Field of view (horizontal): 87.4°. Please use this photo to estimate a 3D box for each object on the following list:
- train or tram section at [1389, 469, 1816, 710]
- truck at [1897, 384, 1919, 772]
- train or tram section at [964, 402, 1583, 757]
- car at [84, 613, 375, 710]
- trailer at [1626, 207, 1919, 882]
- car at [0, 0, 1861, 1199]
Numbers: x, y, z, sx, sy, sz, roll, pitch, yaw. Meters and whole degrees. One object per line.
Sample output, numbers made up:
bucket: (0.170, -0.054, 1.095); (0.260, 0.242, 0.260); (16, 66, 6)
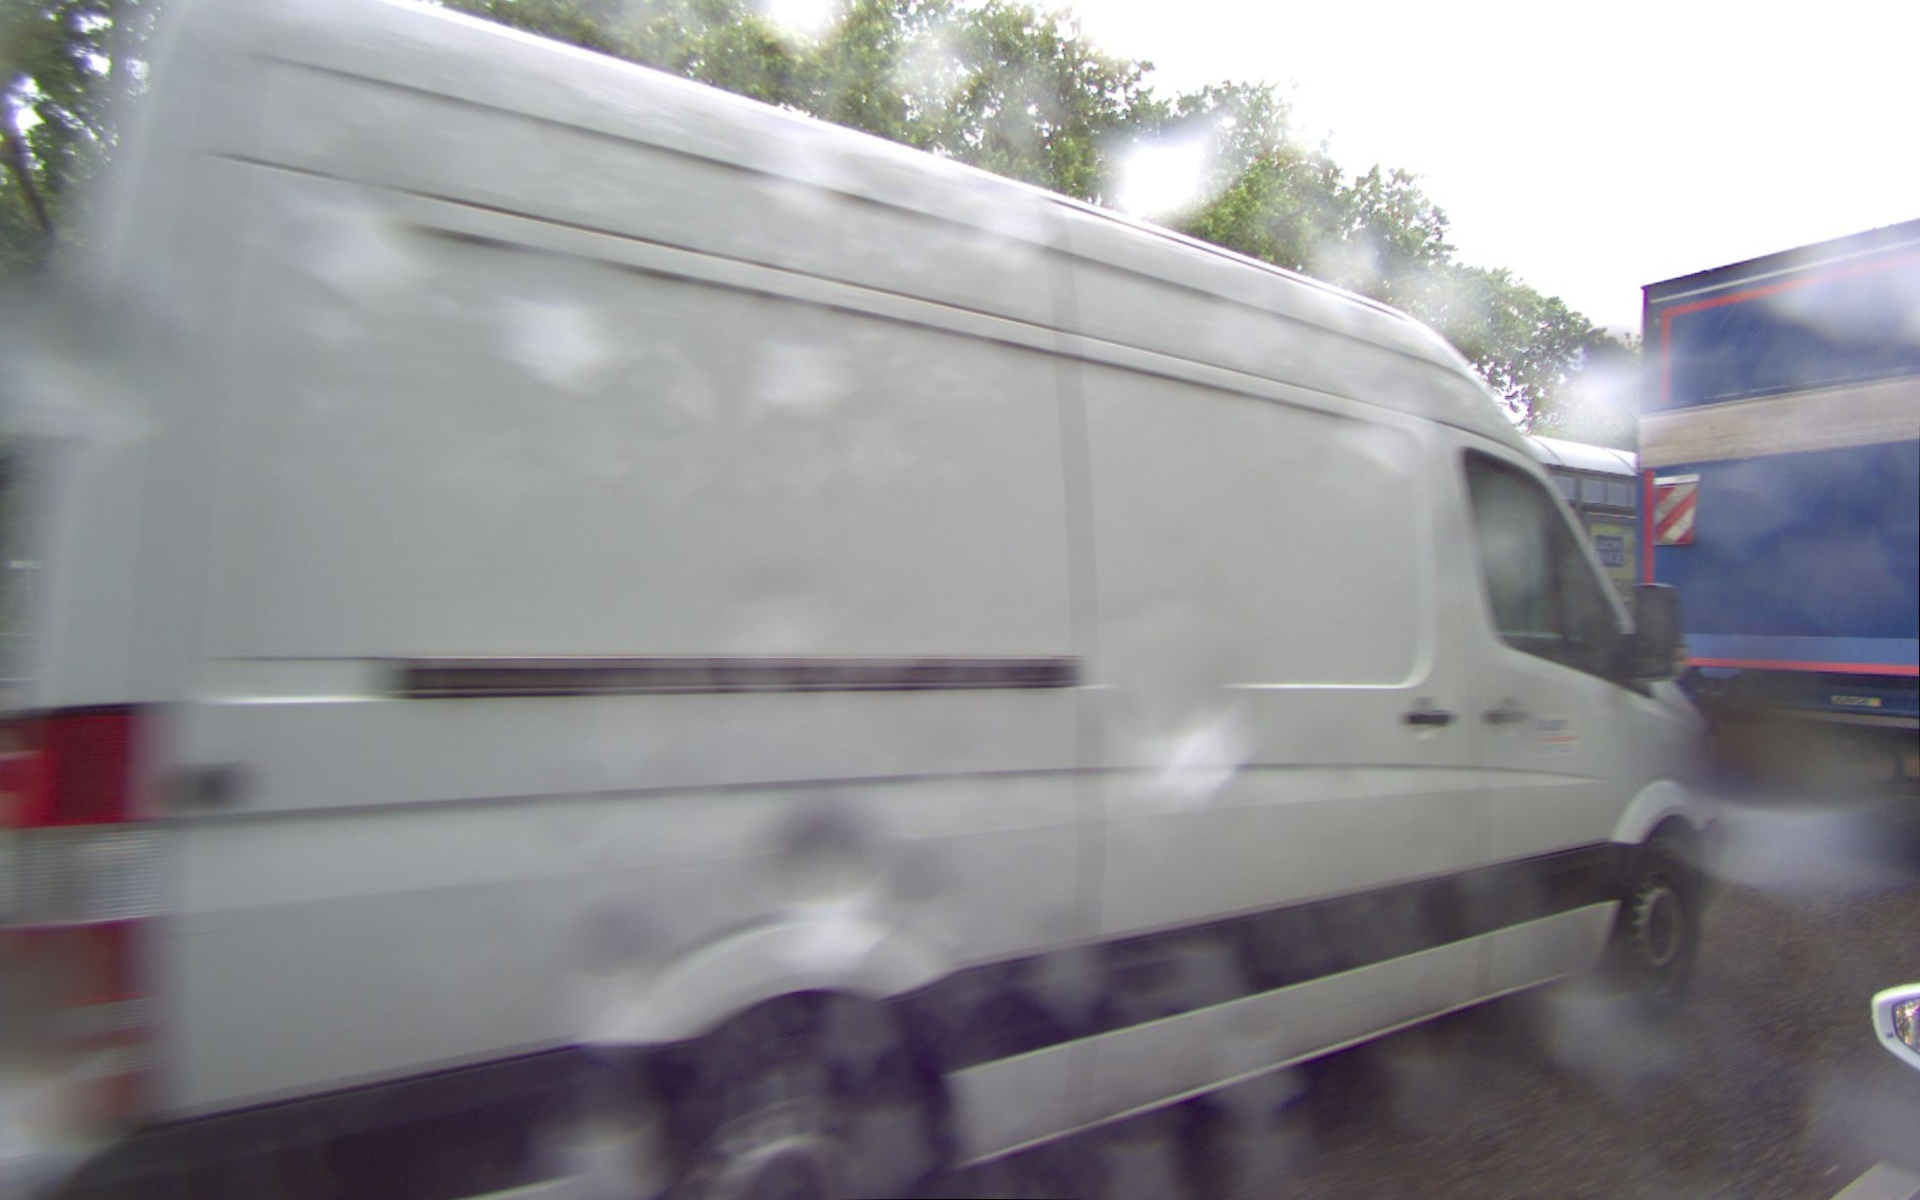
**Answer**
train or tram section: (11.319, -0.078, 17.376); (8.338, 3.329, 2.963); (0, -2, -32)
truck: (12.045, -0.191, 10.347); (3.956, 3.956, 2.566); (1, 0, -32)
train or tram section: (4.315, -0.128, 12.903); (8.268, 3.329, 2.945); (0, -2, -32)
car: (-12.677, 1.038, 17.810); (3.954, 1.537, 1.984); (1, -2, -31)
trailer: (8.651, -0.263, 8.144); (7.553, 3.952, 2.576); (1, 0, -33)
car: (0.646, 0.208, 3.695); (6.045, 2.591, 2.318); (2, -1, -31)
